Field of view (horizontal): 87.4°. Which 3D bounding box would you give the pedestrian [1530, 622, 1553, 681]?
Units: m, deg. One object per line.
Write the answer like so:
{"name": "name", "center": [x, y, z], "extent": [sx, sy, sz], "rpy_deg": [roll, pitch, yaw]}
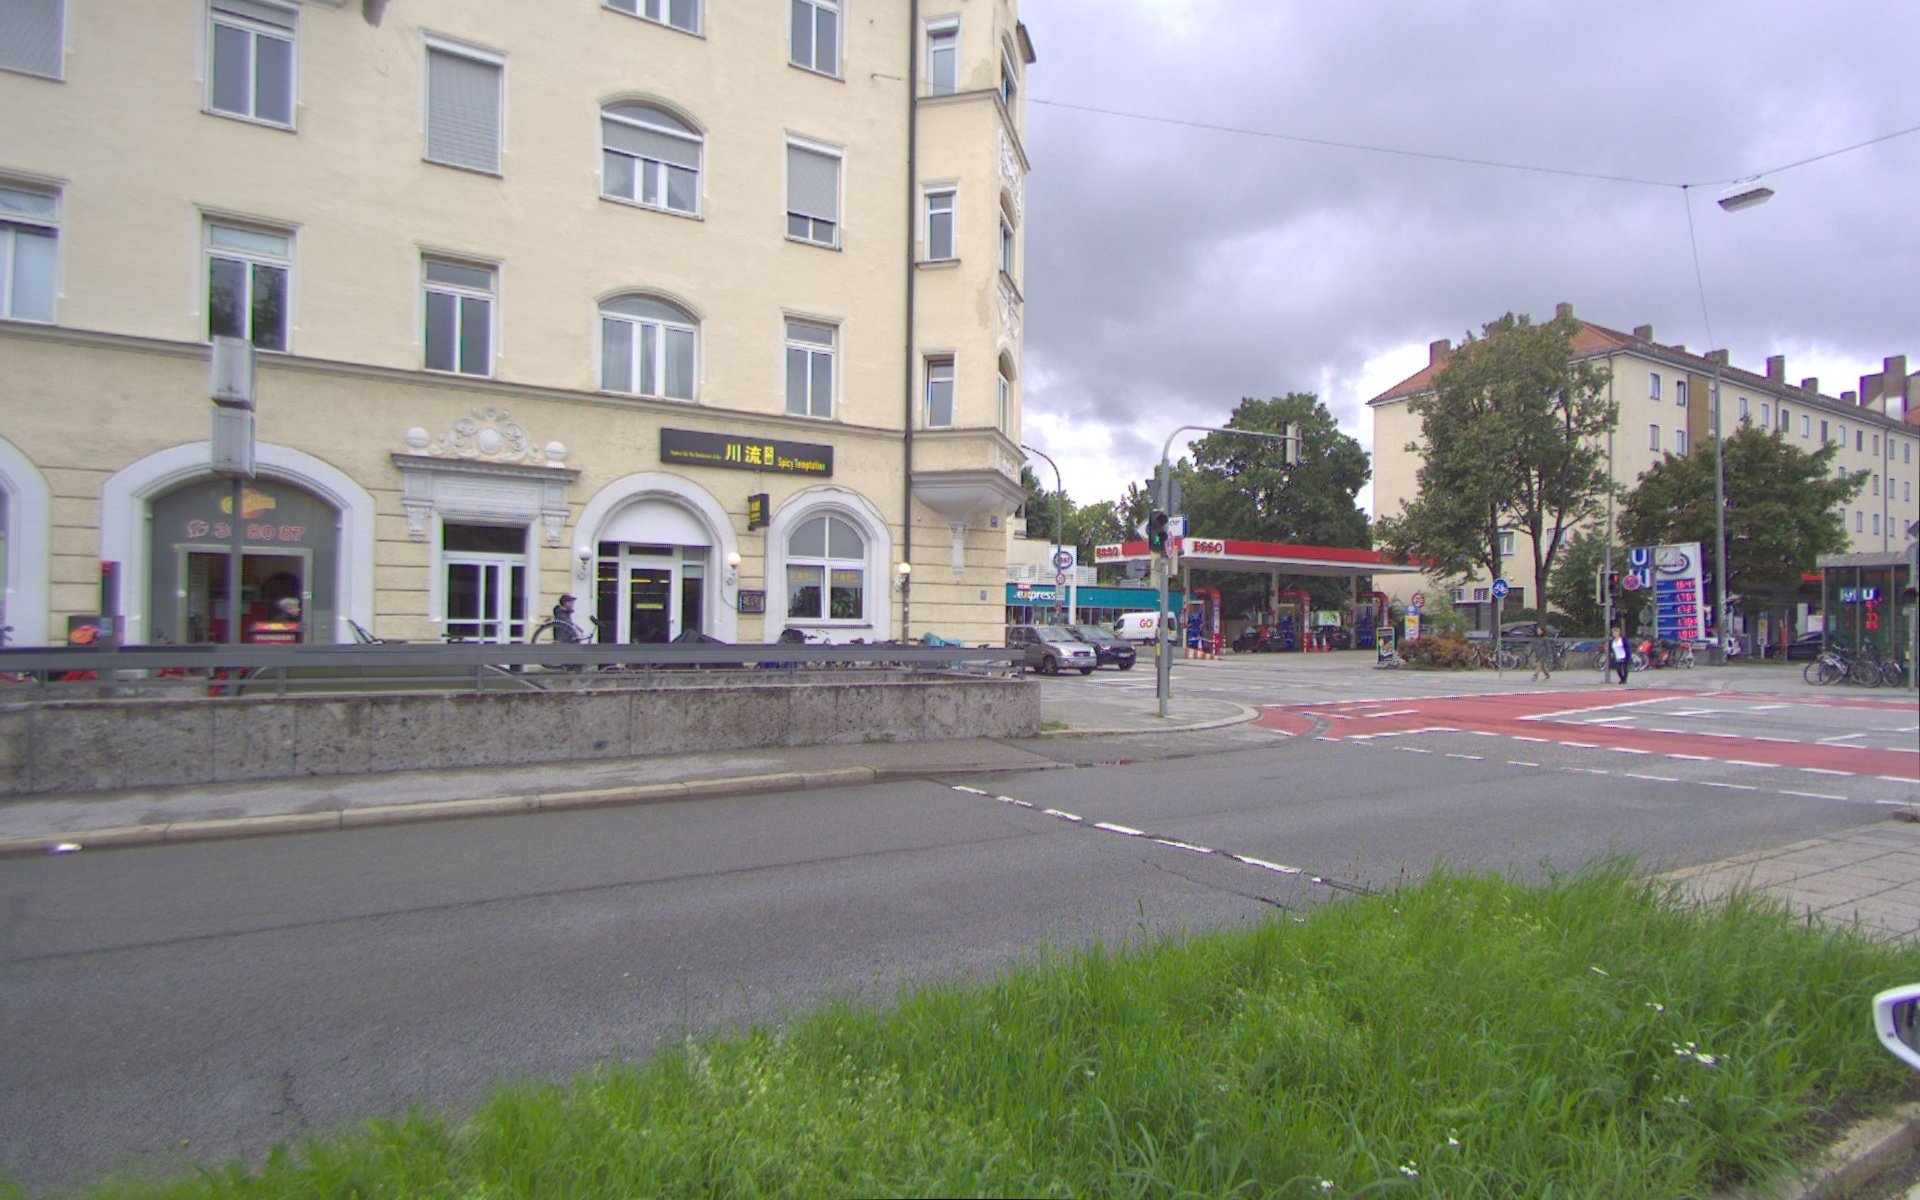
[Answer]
{"name": "pedestrian", "center": [17.203, 1.522, 29.742], "extent": [0.581, 1.717, 0.576], "rpy_deg": [0, -1, 29]}

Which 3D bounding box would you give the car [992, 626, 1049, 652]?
{"name": "car", "center": [3.960, 2.552, 66.123], "extent": [1.848, 1.598, 3.967], "rpy_deg": [1, -1, -31]}

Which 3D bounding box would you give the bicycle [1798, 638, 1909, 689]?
{"name": "bicycle", "center": [25.231, 1.772, 28.408], "extent": [0.695, 1.322, 2.262], "rpy_deg": [1, -1, -28]}

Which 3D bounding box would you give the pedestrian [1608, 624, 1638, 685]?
{"name": "pedestrian", "center": [18.849, 1.546, 28.558], "extent": [0.570, 1.717, 0.531], "rpy_deg": [1, -1, -32]}

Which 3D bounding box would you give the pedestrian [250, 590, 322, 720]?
{"name": "pedestrian", "center": [-9.145, 0.735, 13.648], "extent": [0.762, 1.719, 0.540], "rpy_deg": [1, -1, -32]}

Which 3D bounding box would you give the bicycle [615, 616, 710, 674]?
{"name": "bicycle", "center": [-5.237, 0.784, 17.720], "extent": [1.527, 0.993, 0.470], "rpy_deg": [1, -1, -30]}

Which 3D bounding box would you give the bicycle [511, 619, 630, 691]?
{"name": "bicycle", "center": [-5.547, 0.771, 14.330], "extent": [1.527, 0.993, 0.470], "rpy_deg": [1, -1, -30]}

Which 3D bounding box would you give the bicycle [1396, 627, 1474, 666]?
{"name": "bicycle", "center": [17.000, 1.647, 36.012], "extent": [0.785, 1.267, 2.374], "rpy_deg": [2, 0, -40]}

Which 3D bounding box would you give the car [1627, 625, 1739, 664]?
{"name": "car", "center": [32.548, 1.969, 45.276], "extent": [3.914, 1.630, 1.805], "rpy_deg": [-1, -2, 45]}

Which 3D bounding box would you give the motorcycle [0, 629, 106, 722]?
{"name": "motorcycle", "center": [-12.431, 0.972, 13.276], "extent": [1.947, 1.137, 0.610], "rpy_deg": [1, -1, 10]}

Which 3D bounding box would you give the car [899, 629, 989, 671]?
{"name": "car", "center": [-0.666, 1.807, 37.317], "extent": [1.643, 1.430, 4.299], "rpy_deg": [1, -1, -27]}

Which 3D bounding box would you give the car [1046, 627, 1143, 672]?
{"name": "car", "center": [4.637, 1.682, 34.966], "extent": [1.643, 1.430, 3.534], "rpy_deg": [1, -1, -27]}

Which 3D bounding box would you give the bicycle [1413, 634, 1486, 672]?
{"name": "bicycle", "center": [16.943, 1.813, 34.813], "extent": [0.760, 1.252, 2.161], "rpy_deg": [1, -1, -41]}

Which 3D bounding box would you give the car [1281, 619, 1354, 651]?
{"name": "car", "center": [21.604, 2.095, 60.837], "extent": [1.836, 1.808, 3.968], "rpy_deg": [1, -1, -30]}

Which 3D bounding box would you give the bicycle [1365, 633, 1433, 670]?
{"name": "bicycle", "center": [15.927, 1.848, 36.454], "extent": [0.759, 1.252, 2.162], "rpy_deg": [1, -1, -39]}

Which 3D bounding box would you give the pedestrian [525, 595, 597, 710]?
{"name": "pedestrian", "center": [-6.192, 0.798, 15.581], "extent": [0.935, 1.719, 0.588], "rpy_deg": [1, -1, -32]}

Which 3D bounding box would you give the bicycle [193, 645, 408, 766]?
{"name": "bicycle", "center": [-6.708, 1.038, 10.278], "extent": [1.798, 1.130, 0.392], "rpy_deg": [1, -1, -39]}

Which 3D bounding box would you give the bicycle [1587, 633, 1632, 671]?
{"name": "bicycle", "center": [22.453, 1.783, 34.729], "extent": [2.167, 1.252, 0.603], "rpy_deg": [1, -1, -37]}

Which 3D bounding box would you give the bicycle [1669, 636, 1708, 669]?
{"name": "bicycle", "center": [26.827, 1.920, 36.975], "extent": [1.947, 1.160, 0.603], "rpy_deg": [1, -1, -37]}

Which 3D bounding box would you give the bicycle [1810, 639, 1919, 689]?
{"name": "bicycle", "center": [25.904, 1.803, 28.781], "extent": [0.685, 1.322, 2.275], "rpy_deg": [1, -1, -28]}

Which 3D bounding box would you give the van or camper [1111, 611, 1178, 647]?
{"name": "van or camper", "center": [12.571, 1.965, 68.663], "extent": [1.899, 2.354, 4.508], "rpy_deg": [1, -1, -34]}

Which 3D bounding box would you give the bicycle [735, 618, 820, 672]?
{"name": "bicycle", "center": [-3.483, 0.848, 19.184], "extent": [1.527, 0.993, 0.470], "rpy_deg": [1, -1, -30]}

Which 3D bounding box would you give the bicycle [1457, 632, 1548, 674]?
{"name": "bicycle", "center": [18.482, 1.784, 34.246], "extent": [2.664, 1.267, 0.792], "rpy_deg": [2, 0, 30]}

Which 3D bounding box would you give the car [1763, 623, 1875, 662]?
{"name": "car", "center": [43.207, 2.115, 50.599], "extent": [1.860, 1.862, 3.965], "rpy_deg": [1, -1, -32]}

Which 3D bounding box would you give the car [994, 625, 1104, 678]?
{"name": "car", "center": [2.755, 1.579, 31.707], "extent": [1.646, 1.537, 3.599], "rpy_deg": [1, -1, -32]}

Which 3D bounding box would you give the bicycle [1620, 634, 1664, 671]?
{"name": "bicycle", "center": [23.476, 1.795, 34.576], "extent": [2.167, 1.252, 0.603], "rpy_deg": [1, -1, -37]}

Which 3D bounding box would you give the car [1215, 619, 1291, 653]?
{"name": "car", "center": [16.488, 1.999, 56.636], "extent": [1.836, 1.808, 3.968], "rpy_deg": [1, -1, -30]}

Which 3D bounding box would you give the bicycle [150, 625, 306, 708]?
{"name": "bicycle", "center": [-9.165, 0.814, 12.637], "extent": [1.527, 0.993, 0.470], "rpy_deg": [1, -1, -30]}
